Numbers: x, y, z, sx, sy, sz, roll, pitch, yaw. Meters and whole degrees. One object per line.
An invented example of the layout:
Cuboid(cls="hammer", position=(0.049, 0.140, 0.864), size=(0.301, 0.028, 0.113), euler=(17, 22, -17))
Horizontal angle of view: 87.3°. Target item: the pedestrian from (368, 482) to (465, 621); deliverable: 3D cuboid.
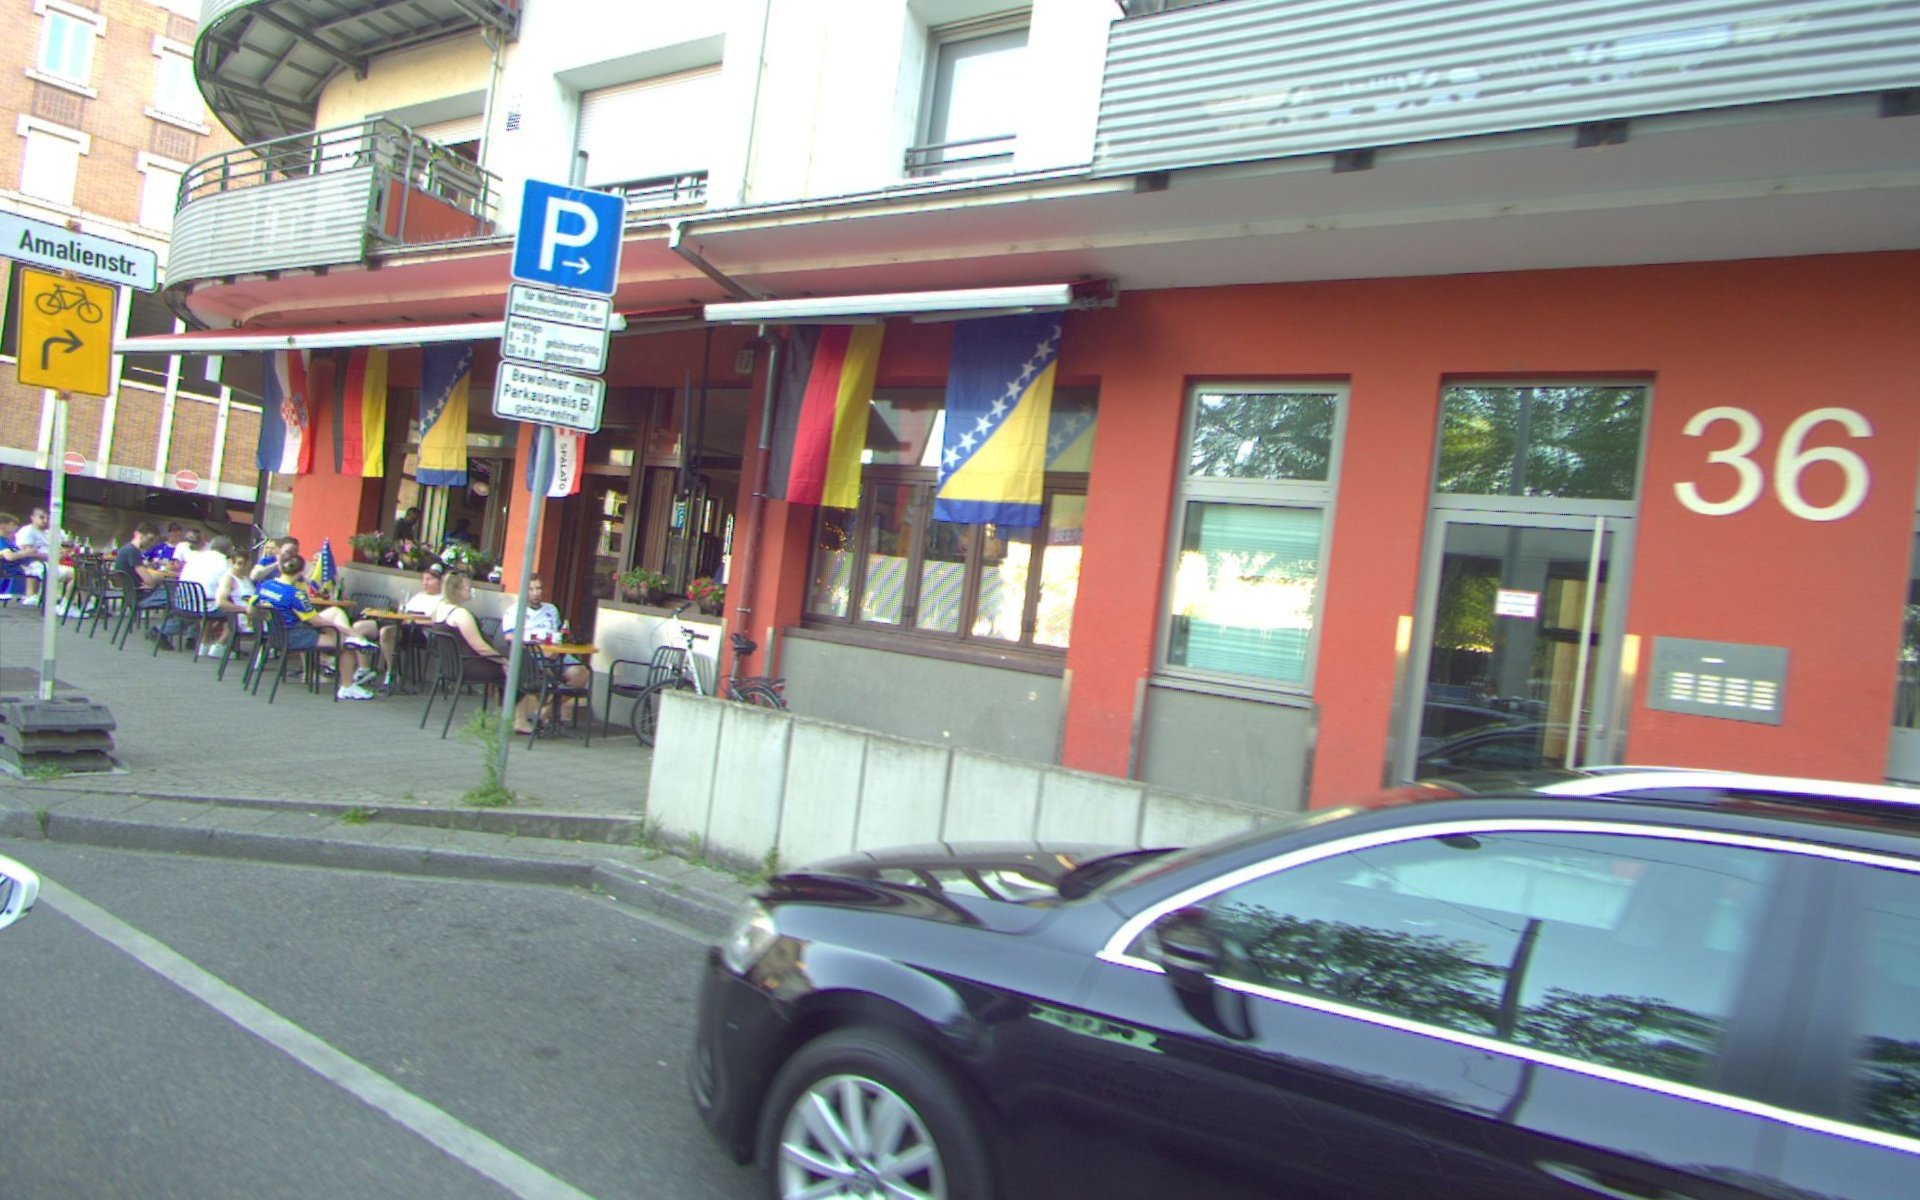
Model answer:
Cuboid(cls="pedestrian", position=(-8.560, -0.758, 15.854), size=(0.844, 2.037, 0.907), euler=(7, -1, 44))

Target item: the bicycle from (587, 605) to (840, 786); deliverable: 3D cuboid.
Cuboid(cls="bicycle", position=(-1.976, 0.719, 7.950), size=(1.971, 1.099, 0.550), euler=(7, -2, 30))

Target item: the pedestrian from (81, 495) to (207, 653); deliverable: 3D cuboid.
Cuboid(cls="pedestrian", position=(-8.624, -0.269, 10.643), size=(0.746, 1.556, 0.713), euler=(7, 3, 26))

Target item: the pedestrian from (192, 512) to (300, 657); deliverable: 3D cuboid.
Cuboid(cls="pedestrian", position=(-8.093, -0.164, 11.415), size=(0.643, 1.556, 0.674), euler=(7, 2, 27))

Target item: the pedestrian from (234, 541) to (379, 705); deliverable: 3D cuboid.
Cuboid(cls="pedestrian", position=(-5.782, 0.198, 8.894), size=(0.872, 1.322, 0.843), euler=(6, 0, -41))

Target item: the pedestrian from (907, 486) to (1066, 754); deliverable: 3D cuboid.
Cuboid(cls="pedestrian", position=(0.214, 0.160, 8.142), size=(0.803, 2.037, 0.667), euler=(7, -1, 40))

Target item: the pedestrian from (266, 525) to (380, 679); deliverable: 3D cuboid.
Cuboid(cls="pedestrian", position=(-6.420, 0.030, 10.153), size=(0.551, 1.452, 0.667), euler=(7, 1, 27))

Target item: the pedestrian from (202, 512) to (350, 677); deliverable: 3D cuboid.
Cuboid(cls="pedestrian", position=(-7.032, -0.039, 10.369), size=(0.667, 1.553, 0.853), euler=(7, -2, 26))

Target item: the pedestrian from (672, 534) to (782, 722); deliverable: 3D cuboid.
Cuboid(cls="pedestrian", position=(-2.311, 0.288, 10.006), size=(0.607, 1.759, 0.612), euler=(7, -1, 28))

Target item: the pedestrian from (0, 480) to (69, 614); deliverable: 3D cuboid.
Cuboid(cls="pedestrian", position=(-11.635, -0.655, 12.483), size=(0.710, 1.554, 0.681), euler=(7, -1, -43))

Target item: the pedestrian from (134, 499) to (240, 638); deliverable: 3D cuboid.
Cuboid(cls="pedestrian", position=(-9.435, -0.370, 12.311), size=(0.744, 1.553, 0.644), euler=(9, -2, -28))

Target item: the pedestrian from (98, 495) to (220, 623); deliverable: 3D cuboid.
Cuboid(cls="pedestrian", position=(-10.768, -0.525, 13.553), size=(0.838, 1.553, 0.714), euler=(8, -2, -5))

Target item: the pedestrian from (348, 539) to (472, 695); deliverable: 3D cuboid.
Cuboid(cls="pedestrian", position=(-5.522, 0.184, 10.129), size=(0.592, 1.437, 0.714), euler=(7, -2, 28))

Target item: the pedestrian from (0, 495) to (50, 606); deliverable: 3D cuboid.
Cuboid(cls="pedestrian", position=(-12.607, -0.672, 13.013), size=(0.823, 1.399, 0.771), euler=(6, 0, 4))

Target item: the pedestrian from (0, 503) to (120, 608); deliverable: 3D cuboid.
Cuboid(cls="pedestrian", position=(-12.295, -0.592, 13.750), size=(0.949, 1.297, 0.686), euler=(5, -1, 4))

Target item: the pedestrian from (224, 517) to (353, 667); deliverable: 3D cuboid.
Cuboid(cls="pedestrian", position=(-7.449, -0.078, 11.176), size=(0.769, 1.522, 0.769), euler=(7, -1, 27))

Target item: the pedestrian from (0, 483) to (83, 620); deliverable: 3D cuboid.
Cuboid(cls="pedestrian", position=(-11.071, -0.579, 11.954), size=(0.839, 1.557, 0.712), euler=(7, 3, 31))

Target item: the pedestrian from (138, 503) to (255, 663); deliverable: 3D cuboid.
Cuboid(cls="pedestrian", position=(-7.894, -0.169, 10.410), size=(0.688, 1.548, 0.649), euler=(7, 3, 25))

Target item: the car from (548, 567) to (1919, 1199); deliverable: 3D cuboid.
Cuboid(cls="car", position=(1.409, 1.029, 2.290), size=(4.554, 1.569, 1.878), euler=(7, -3, 32))

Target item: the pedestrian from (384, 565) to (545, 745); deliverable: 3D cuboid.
Cuboid(cls="pedestrian", position=(-3.907, 0.428, 7.996), size=(0.701, 1.293, 0.854), euler=(5, -1, 7))

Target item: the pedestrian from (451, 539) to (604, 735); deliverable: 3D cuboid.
Cuboid(cls="pedestrian", position=(-3.779, 0.332, 8.865), size=(0.701, 1.553, 0.854), euler=(8, -2, 7))

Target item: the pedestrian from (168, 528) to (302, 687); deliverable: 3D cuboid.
Cuboid(cls="pedestrian", position=(-6.754, 0.068, 9.381), size=(0.736, 1.362, 0.654), euler=(7, 2, 27))

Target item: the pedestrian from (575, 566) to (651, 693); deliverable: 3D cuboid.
Cuboid(cls="pedestrian", position=(-5.171, 0.455, 14.998), size=(0.606, 1.797, 0.612), euler=(7, -1, 22))

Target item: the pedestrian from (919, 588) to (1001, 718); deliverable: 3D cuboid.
Cuboid(cls="pedestrian", position=(0.001, 0.785, 14.980), size=(0.750, 1.814, 0.648), euler=(7, -1, 40))
